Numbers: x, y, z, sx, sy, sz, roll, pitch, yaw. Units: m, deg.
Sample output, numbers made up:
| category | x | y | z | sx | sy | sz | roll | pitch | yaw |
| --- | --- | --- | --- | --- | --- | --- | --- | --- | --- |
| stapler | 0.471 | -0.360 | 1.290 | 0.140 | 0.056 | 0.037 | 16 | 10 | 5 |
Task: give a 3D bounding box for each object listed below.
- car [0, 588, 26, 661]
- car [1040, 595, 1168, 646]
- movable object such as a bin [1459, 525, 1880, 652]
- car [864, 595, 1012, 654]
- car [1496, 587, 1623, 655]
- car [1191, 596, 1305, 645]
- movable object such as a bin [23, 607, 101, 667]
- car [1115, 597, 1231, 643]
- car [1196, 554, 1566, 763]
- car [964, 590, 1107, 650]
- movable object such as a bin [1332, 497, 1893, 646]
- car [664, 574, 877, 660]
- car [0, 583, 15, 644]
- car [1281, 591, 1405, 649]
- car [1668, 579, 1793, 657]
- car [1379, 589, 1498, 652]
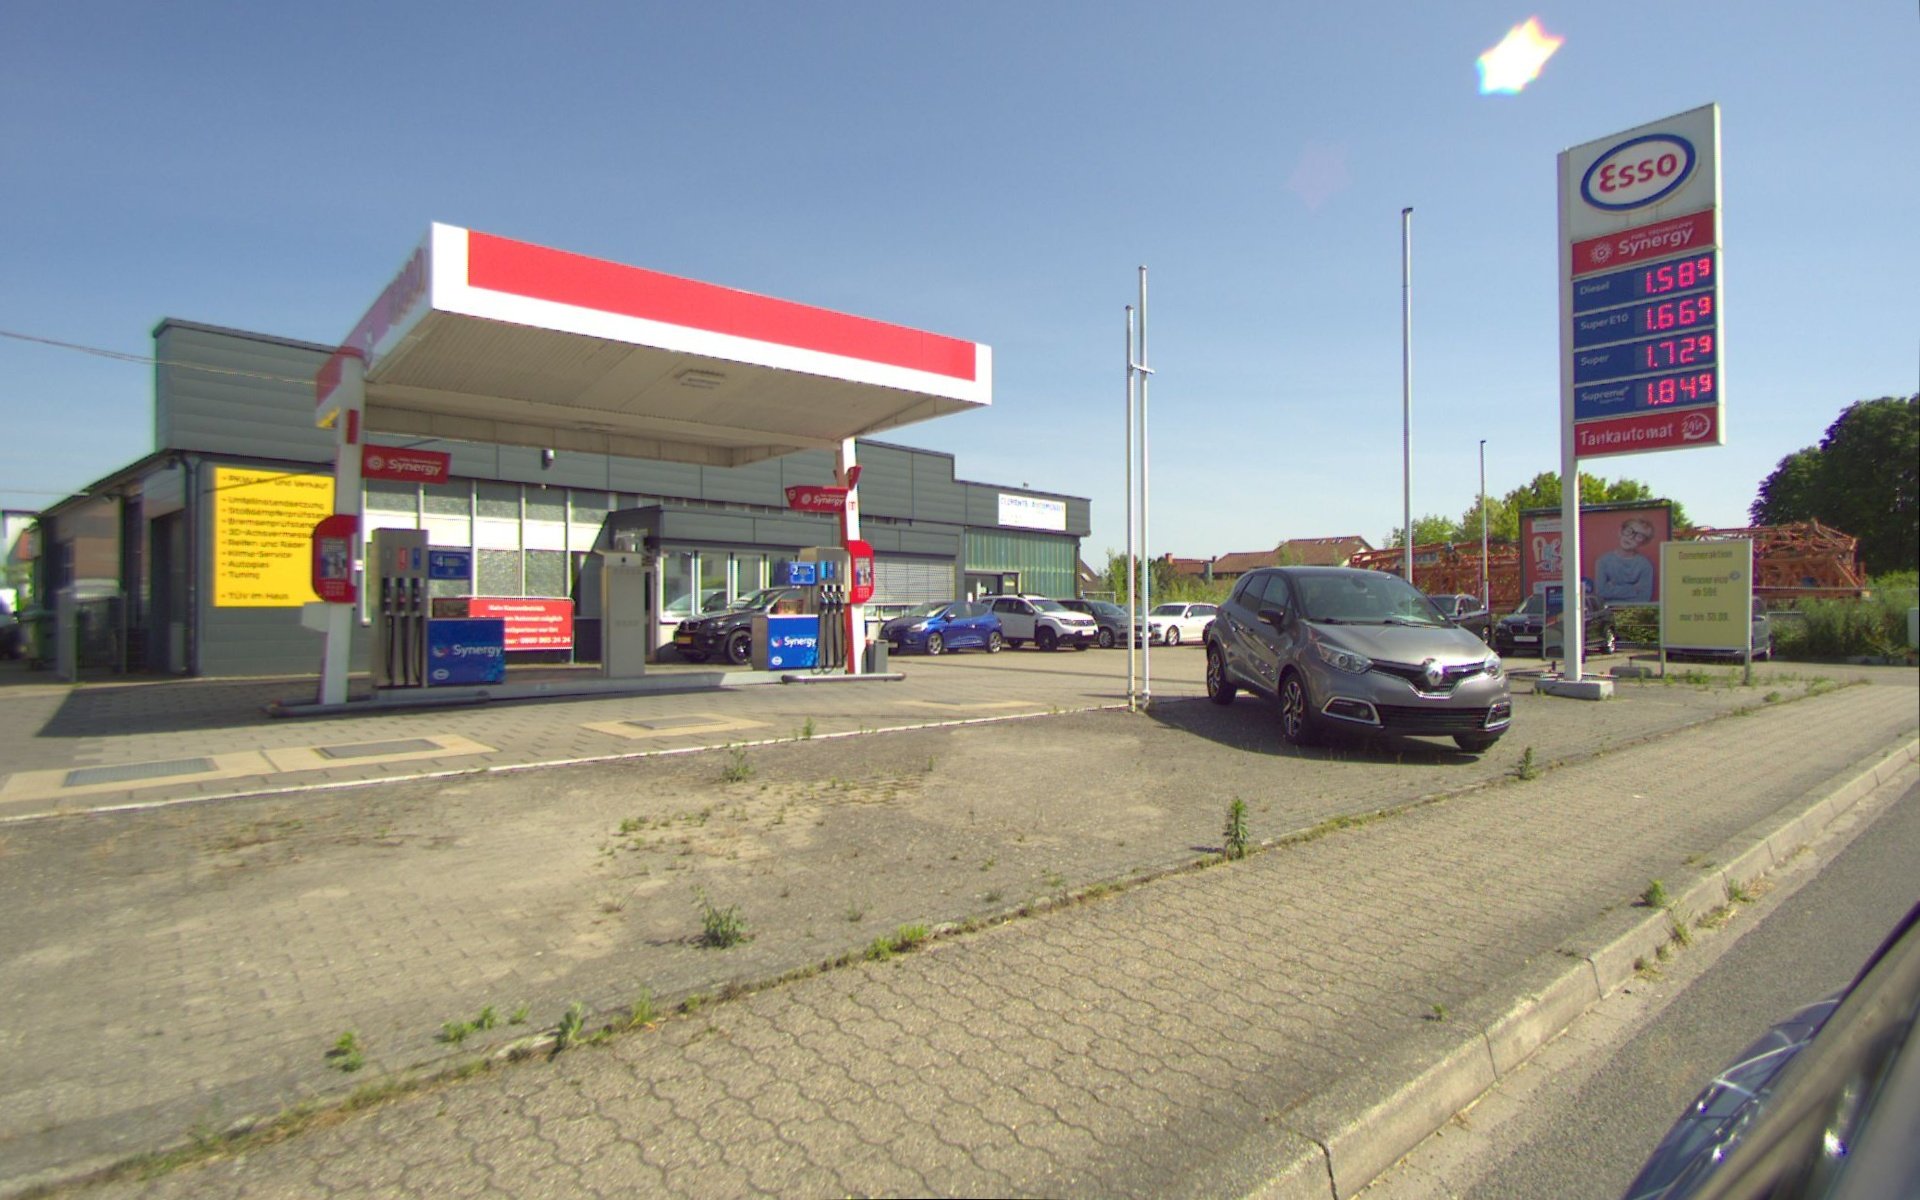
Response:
| category | x | y | z | sx | sy | sz | roll | pitch | yaw |
| --- | --- | --- | --- | --- | --- | --- | --- | --- | --- |
| car | -27.646 | 0.666 | 28.243 | 5.166 | 1.928 | 1.905 | 0 | 0 | 43 |
| car | 4.473 | 0.595 | 31.725 | 1.781 | 1.492 | 3.681 | 0 | 0 | -43 |
| movable object such as a bin | 26.997 | -0.370 | 39.769 | 2.812 | 4.218 | 13.278 | 0 | 0 | -40 |
| car | -0.536 | 0.616 | 27.550 | 1.790 | 1.450 | 4.066 | 0 | 0 | 41 |
| car | 15.467 | 0.486 | 26.025 | 1.969 | 1.612 | 3.937 | 0 | 0 | 44 |
| car | 9.098 | 0.606 | 31.807 | 1.841 | 1.404 | 3.937 | 0 | 0 | 44 |
| movable object such as a bin | -20.854 | 0.828 | 23.492 | 1.170 | 1.312 | 1.258 | 0 | 0 | 43 |
| car | 7.241 | 0.633 | 34.155 | 1.841 | 1.404 | 4.307 | 0 | 0 | 44 |
| car | 3.742 | 0.389 | 9.912 | 1.740 | 1.574 | 4.184 | 1 | 2 | -1 |
| car | 2.178 | 0.538 | 30.004 | 1.781 | 1.655 | 4.144 | 0 | 0 | -43 |
| movable object such as a bin | 20.889 | -0.769 | 34.683 | 2.724 | 4.069 | 16.081 | 0 | 0 | -40 |
| car | -4.205 | 0.405 | 23.127 | 1.801 | 1.764 | 4.748 | -2 | -2 | 40 |
| car | -45.328 | 0.597 | 46.809 | 5.171 | 2.735 | 1.993 | 0 | 0 | 43 |
| car | 11.545 | 0.540 | 30.361 | 1.998 | 1.612 | 4.270 | 0 | 0 | 44 |
| car | 18.822 | 0.428 | 24.644 | 4.296 | 1.707 | 1.805 | 2 | 0 | -44 |
| car | 13.424 | 0.522 | 28.292 | 1.841 | 1.612 | 4.041 | 0 | 0 | 44 |
